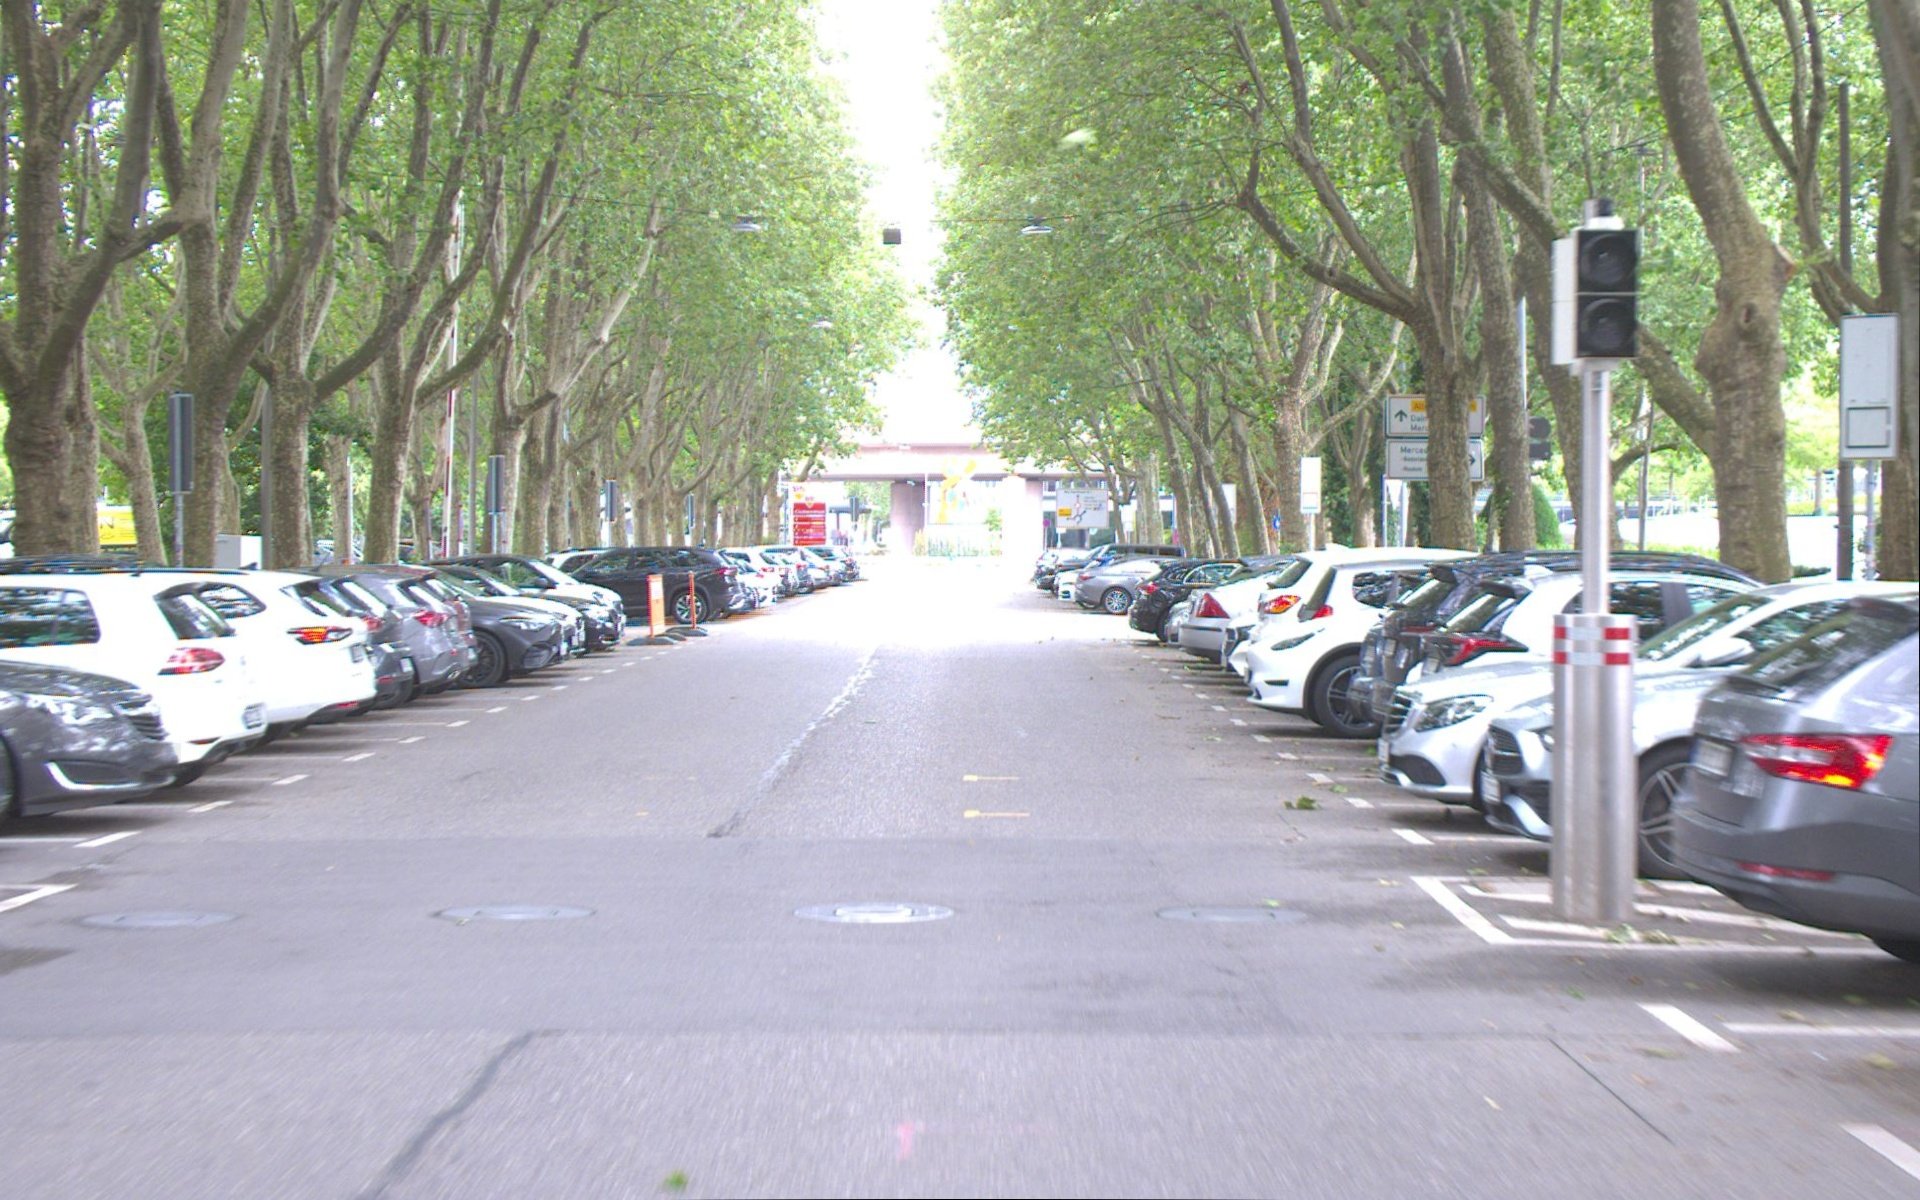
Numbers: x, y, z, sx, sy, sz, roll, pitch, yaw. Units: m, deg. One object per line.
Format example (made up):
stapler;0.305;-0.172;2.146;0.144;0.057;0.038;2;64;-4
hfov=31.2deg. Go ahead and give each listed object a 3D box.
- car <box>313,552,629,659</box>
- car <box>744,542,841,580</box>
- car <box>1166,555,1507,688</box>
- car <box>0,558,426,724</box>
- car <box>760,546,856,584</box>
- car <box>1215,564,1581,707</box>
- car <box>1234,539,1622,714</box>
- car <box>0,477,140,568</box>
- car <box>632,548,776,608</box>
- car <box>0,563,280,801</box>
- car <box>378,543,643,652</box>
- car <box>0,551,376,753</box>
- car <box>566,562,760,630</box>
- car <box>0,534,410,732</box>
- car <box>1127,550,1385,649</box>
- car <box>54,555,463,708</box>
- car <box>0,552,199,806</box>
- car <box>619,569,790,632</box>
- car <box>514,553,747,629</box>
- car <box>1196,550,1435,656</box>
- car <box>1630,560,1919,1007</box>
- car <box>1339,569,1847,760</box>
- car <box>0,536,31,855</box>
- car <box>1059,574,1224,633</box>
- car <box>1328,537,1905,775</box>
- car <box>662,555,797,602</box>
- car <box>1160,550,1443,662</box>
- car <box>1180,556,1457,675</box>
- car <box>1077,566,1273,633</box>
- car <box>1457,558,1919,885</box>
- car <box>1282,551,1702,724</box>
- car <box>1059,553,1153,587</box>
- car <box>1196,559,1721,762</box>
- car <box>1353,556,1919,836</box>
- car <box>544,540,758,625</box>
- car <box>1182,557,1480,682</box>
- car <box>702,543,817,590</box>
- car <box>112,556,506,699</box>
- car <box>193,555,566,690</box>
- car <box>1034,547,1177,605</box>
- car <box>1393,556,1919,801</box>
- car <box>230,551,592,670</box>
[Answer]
car;-6.999;0.064;49.537;4.332;1.425;1.694;-1;1;-2
car;-6.888;-1.619;141.571;3.814;1.510;1.686;1;1;4
car;4.338;0.229;40.050;3.645;1.419;1.986;1;1;-3
car;-7.063;0.362;32.205;3.827;1.425;1.802;-1;1;-1
car;-6.323;-1.459;143.541;3.814;1.510;1.686;1;1;4
car;4.661;0.371;36.834;3.645;1.405;1.519;1;1;-3
car;4.710;0.252;34.907;3.645;1.661;1.519;1;1;-3
car;-23.642;-1.988;87.659;5.077;2.224;1.536;1;1;-1
car;-7.348;-0.645;98.888;3.814;1.597;1.785;-2;1;6
car;-6.428;0.524;22.004;3.826;1.425;1.694;-1;1;-2
car;-6.804;-0.048;52.286;3.826;1.549;1.694;-1;1;-2
car;-6.704;0.401;27.376;3.826;1.492;1.694;-1;1;-2
car;-6.651;-0.092;77.295;4.167;1.376;1.871;-2;1;-1
car;-6.820;0.266;29.844;3.826;1.603;1.859;-1;1;-3
car;4.678;-0.018;54.717;3.918;1.447;1.556;1;1;-1
car;-7.082;0.298;34.979;3.826;1.425;1.694;-1;1;-2
car;-6.699;0.455;19.475;4.400;1.360;1.694;-1;1;-2
car;-6.090;0.011;82.250;3.814;1.349;1.662;-2;1;6
car;-6.853;-0.196;71.854;4.664;1.422;2.000;-2;1;-1
car;5.387;0.031;52.328;3.425;1.503;1.556;1;1;-1
car;4.762;0.649;12.304;4.366;1.465;1.624;1;1;0
car;4.933;0.487;27.076;3.645;1.366;1.519;1;1;-3
car;-6.737;0.524;16.999;3.826;1.602;1.694;-1;1;-2
car;4.723;0.080;89.096;4.176;1.437;1.731;1;1;5
car;4.723;0.379;25.111;3.775;1.592;1.821;1;1;-3
car;-7.016;-0.670;104.666;3.814;1.292;1.785;-2;1;6
car;4.650;0.070;47.176;3.678;1.419;1.519;1;1;-1
car;4.589;0.188;44.345;3.425;1.419;1.519;1;1;3
car;5.139;-0.021;81.822;4.575;1.481;2.000;1;1;5
car;4.878;0.588;16.817;4.614;1.465;1.650;1;1;0
car;5.006;0.342;32.652;3.645;1.514;1.644;1;1;-3
car;6.932;-1.424;163.456;4.377;1.517;1.731;1;1;1
car;4.236;0.498;29.668;4.166;1.591;1.855;1;1;-3
car;4.538;0.535;19.688;4.296;1.465;1.624;1;1;-3
car;-6.692;-0.386;74.798;4.471;1.671;1.762;-2;1;-1
car;4.543;0.227;42.348;3.424;1.419;1.519;1;1;-3
car;-7.131;-1.198;122.479;3.814;1.510;1.686;-2;1;6
car;-6.979;0.280;37.067;3.827;1.425;1.694;-1;1;5
car;-6.620;0.238;39.524;4.020;1.425;1.694;-1;1;-2
car;4.620;-0.773;109.423;4.376;1.745;1.731;1;1;-2
car;4.866;0.494;22.450;3.775;1.465;1.624;1;1;-3
car;-7.090;0.119;44.687;4.401;1.425;1.694;-1;1;0
